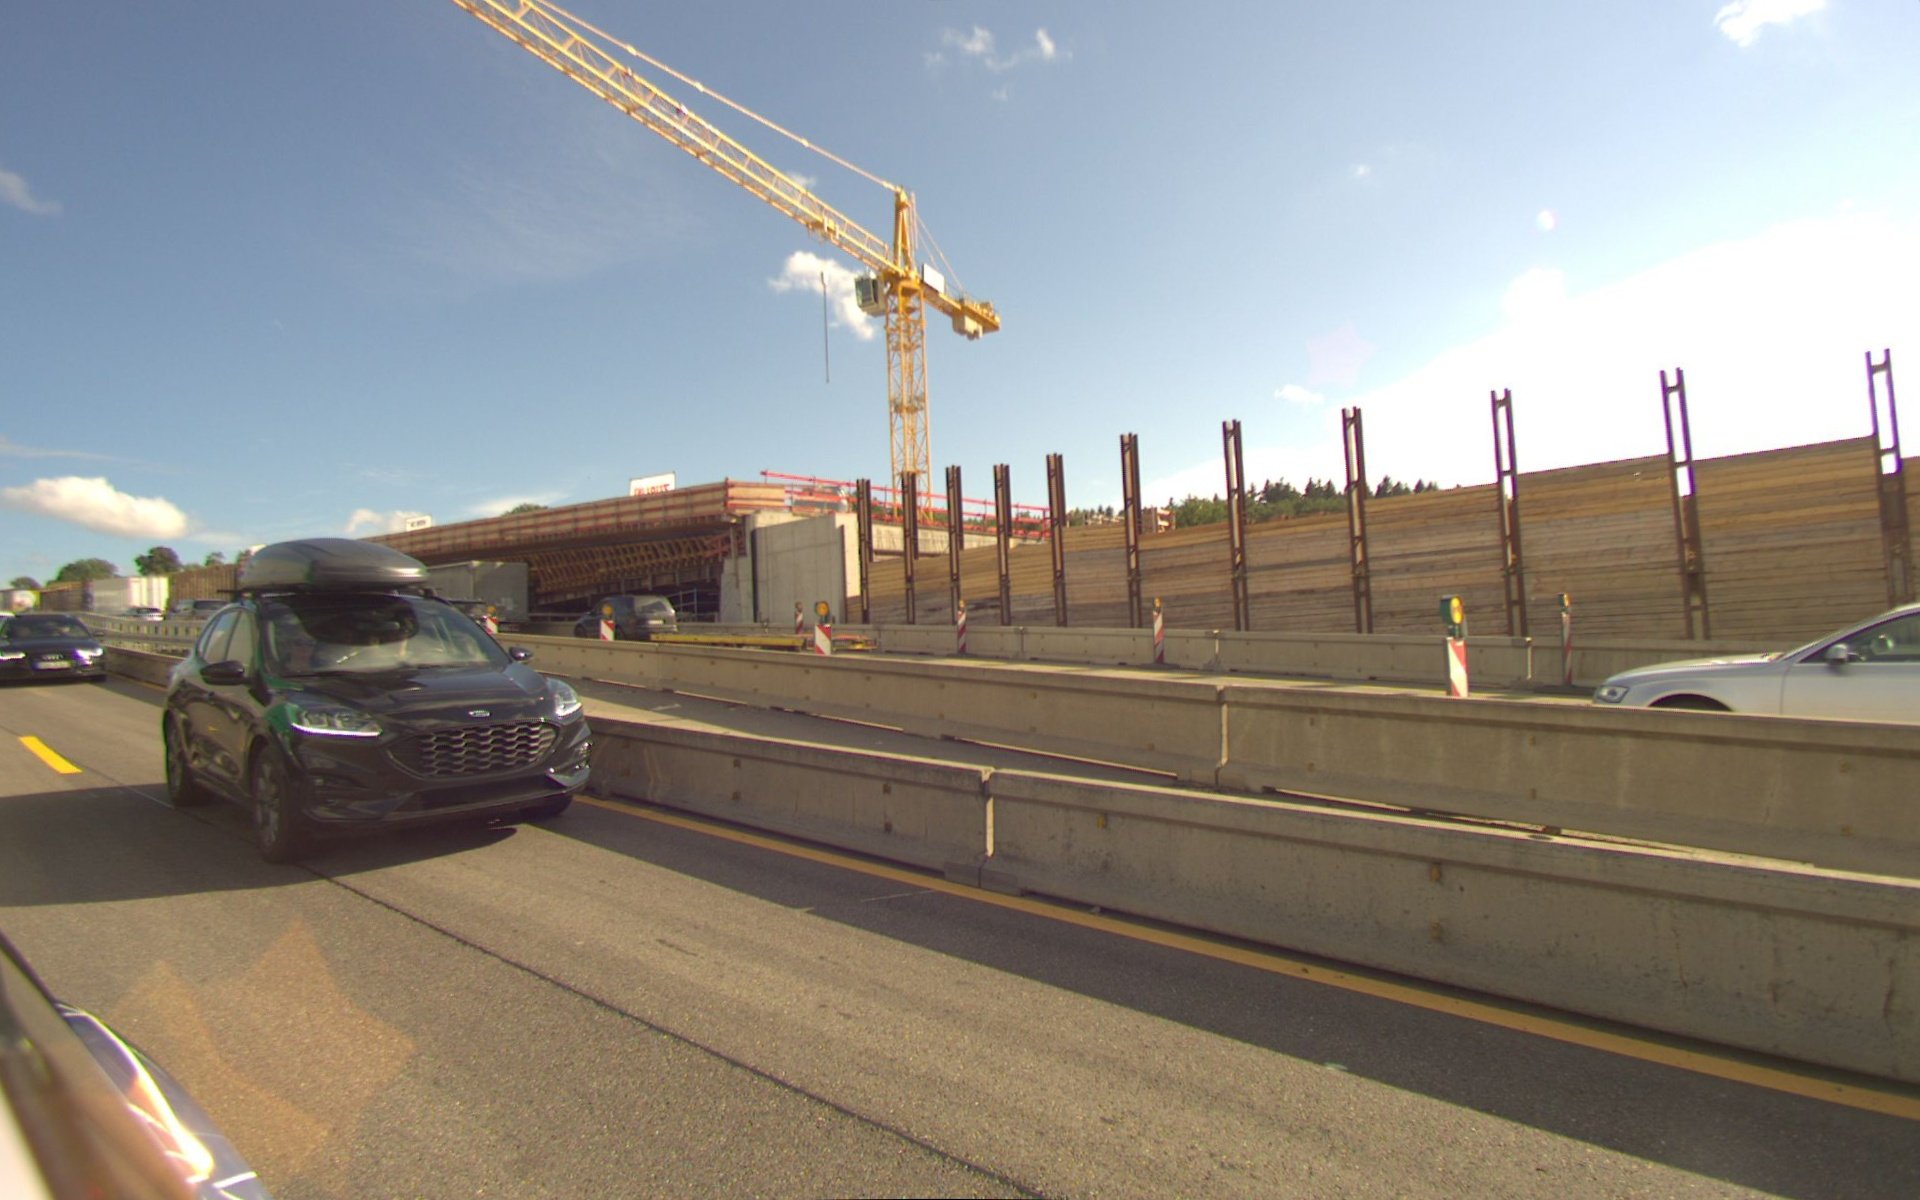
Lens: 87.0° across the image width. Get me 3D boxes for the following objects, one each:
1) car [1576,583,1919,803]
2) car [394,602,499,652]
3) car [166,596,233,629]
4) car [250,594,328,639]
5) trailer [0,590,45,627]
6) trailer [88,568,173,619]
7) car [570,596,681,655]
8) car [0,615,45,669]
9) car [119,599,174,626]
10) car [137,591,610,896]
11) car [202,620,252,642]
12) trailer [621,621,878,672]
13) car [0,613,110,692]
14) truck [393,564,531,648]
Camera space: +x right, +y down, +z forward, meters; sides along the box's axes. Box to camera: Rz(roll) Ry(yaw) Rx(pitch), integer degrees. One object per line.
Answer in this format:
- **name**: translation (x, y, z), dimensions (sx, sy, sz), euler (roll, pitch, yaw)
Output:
- **car**: translation (7.207, 0.599, 7.116), dimensions (1.830, 1.451, 4.564), euler (-1, -1, -41)
- **car**: translation (-18.278, 0.946, 35.925), dimensions (4.750, 1.648, 1.832), euler (-2, -1, 44)
- **car**: translation (-43.756, 0.742, 58.159), dimensions (5.029, 1.779, 2.103), euler (-2, -1, 42)
- **car**: translation (-38.094, 0.869, 57.425), dimensions (5.865, 2.420, 2.235), euler (0, 1, 41)
- **trailer**: translation (-111.699, 0.952, 120.379), dimensions (13.807, 4.187, 2.659), euler (0, 1, 42)
- **trailer**: translation (-67.600, -0.512, 82.277), dimensions (13.791, 3.870, 2.792), euler (0, 1, 40)
- **car**: translation (-11.266, 0.792, 33.907), dimensions (1.969, 1.817, 4.451), euler (-1, 1, -41)
- **car**: translation (-30.968, 1.305, 32.558), dimensions (4.560, 1.576, 1.783), euler (0, 1, 41)
- **car**: translation (-53.693, 0.850, 66.777), dimensions (4.270, 1.686, 2.103), euler (-2, -1, 41)
- **car**: translation (-4.463, 0.743, 7.357), dimensions (4.384, 1.554, 1.780), euler (0, 0, 43)
- **car**: translation (-48.567, 2.022, 67.054), dimensions (3.999, 1.282, 1.899), euler (0, 1, 42)
- **trailer**: translation (-6.300, 1.193, 28.429), dimensions (2.323, 0.947, 10.344), euler (-1, 1, -41)
- **car**: translation (-20.036, 1.053, 21.934), dimensions (4.659, 1.467, 1.783), euler (0, 1, 41)
- **truck**: translation (-21.760, 0.220, 44.001), dimensions (7.533, 3.336, 2.673), euler (0, 1, 41)
